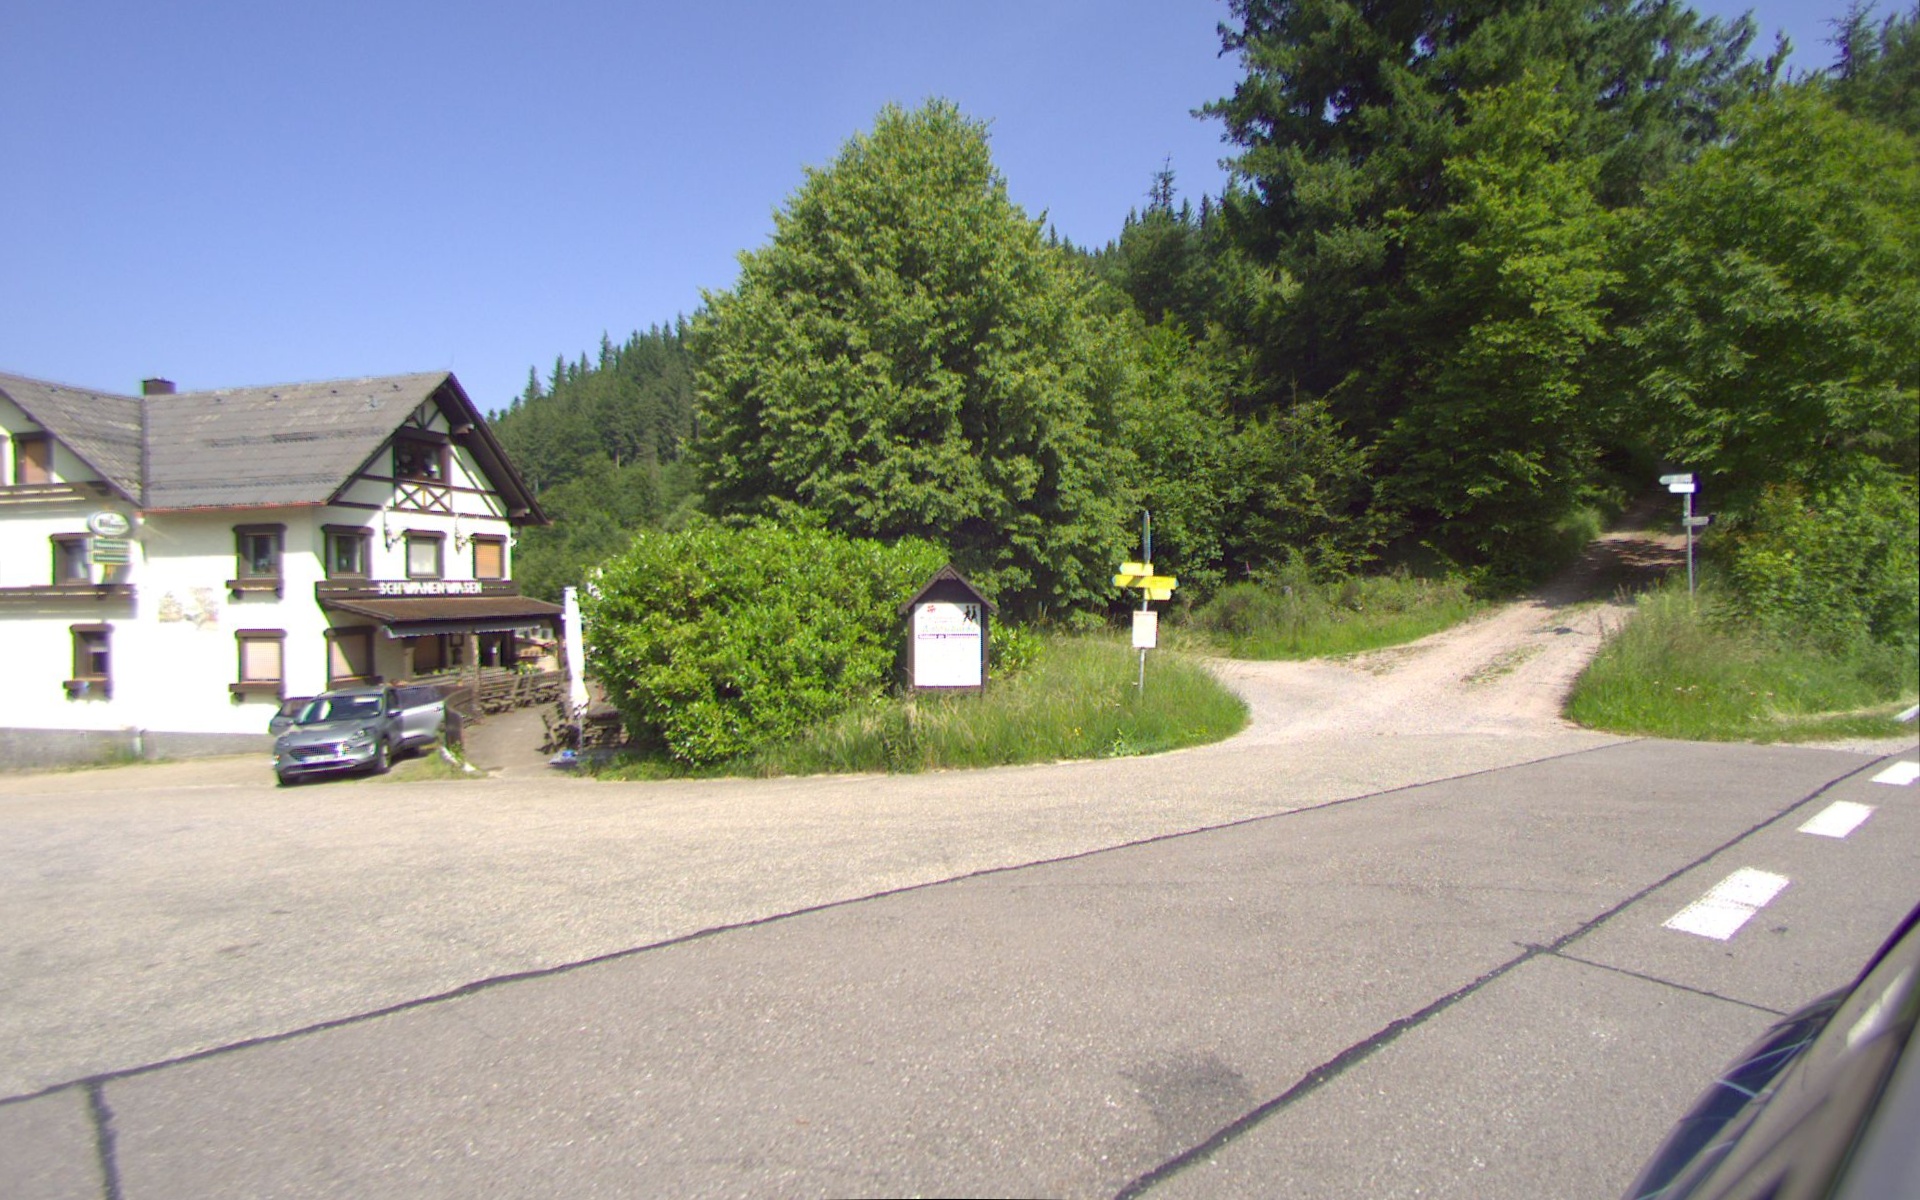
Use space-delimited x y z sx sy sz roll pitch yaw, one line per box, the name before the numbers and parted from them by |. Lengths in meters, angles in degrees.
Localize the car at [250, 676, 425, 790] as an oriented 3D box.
car | -12.603 2.594 20.825 1.938 1.642 4.487 -5 0 -18
